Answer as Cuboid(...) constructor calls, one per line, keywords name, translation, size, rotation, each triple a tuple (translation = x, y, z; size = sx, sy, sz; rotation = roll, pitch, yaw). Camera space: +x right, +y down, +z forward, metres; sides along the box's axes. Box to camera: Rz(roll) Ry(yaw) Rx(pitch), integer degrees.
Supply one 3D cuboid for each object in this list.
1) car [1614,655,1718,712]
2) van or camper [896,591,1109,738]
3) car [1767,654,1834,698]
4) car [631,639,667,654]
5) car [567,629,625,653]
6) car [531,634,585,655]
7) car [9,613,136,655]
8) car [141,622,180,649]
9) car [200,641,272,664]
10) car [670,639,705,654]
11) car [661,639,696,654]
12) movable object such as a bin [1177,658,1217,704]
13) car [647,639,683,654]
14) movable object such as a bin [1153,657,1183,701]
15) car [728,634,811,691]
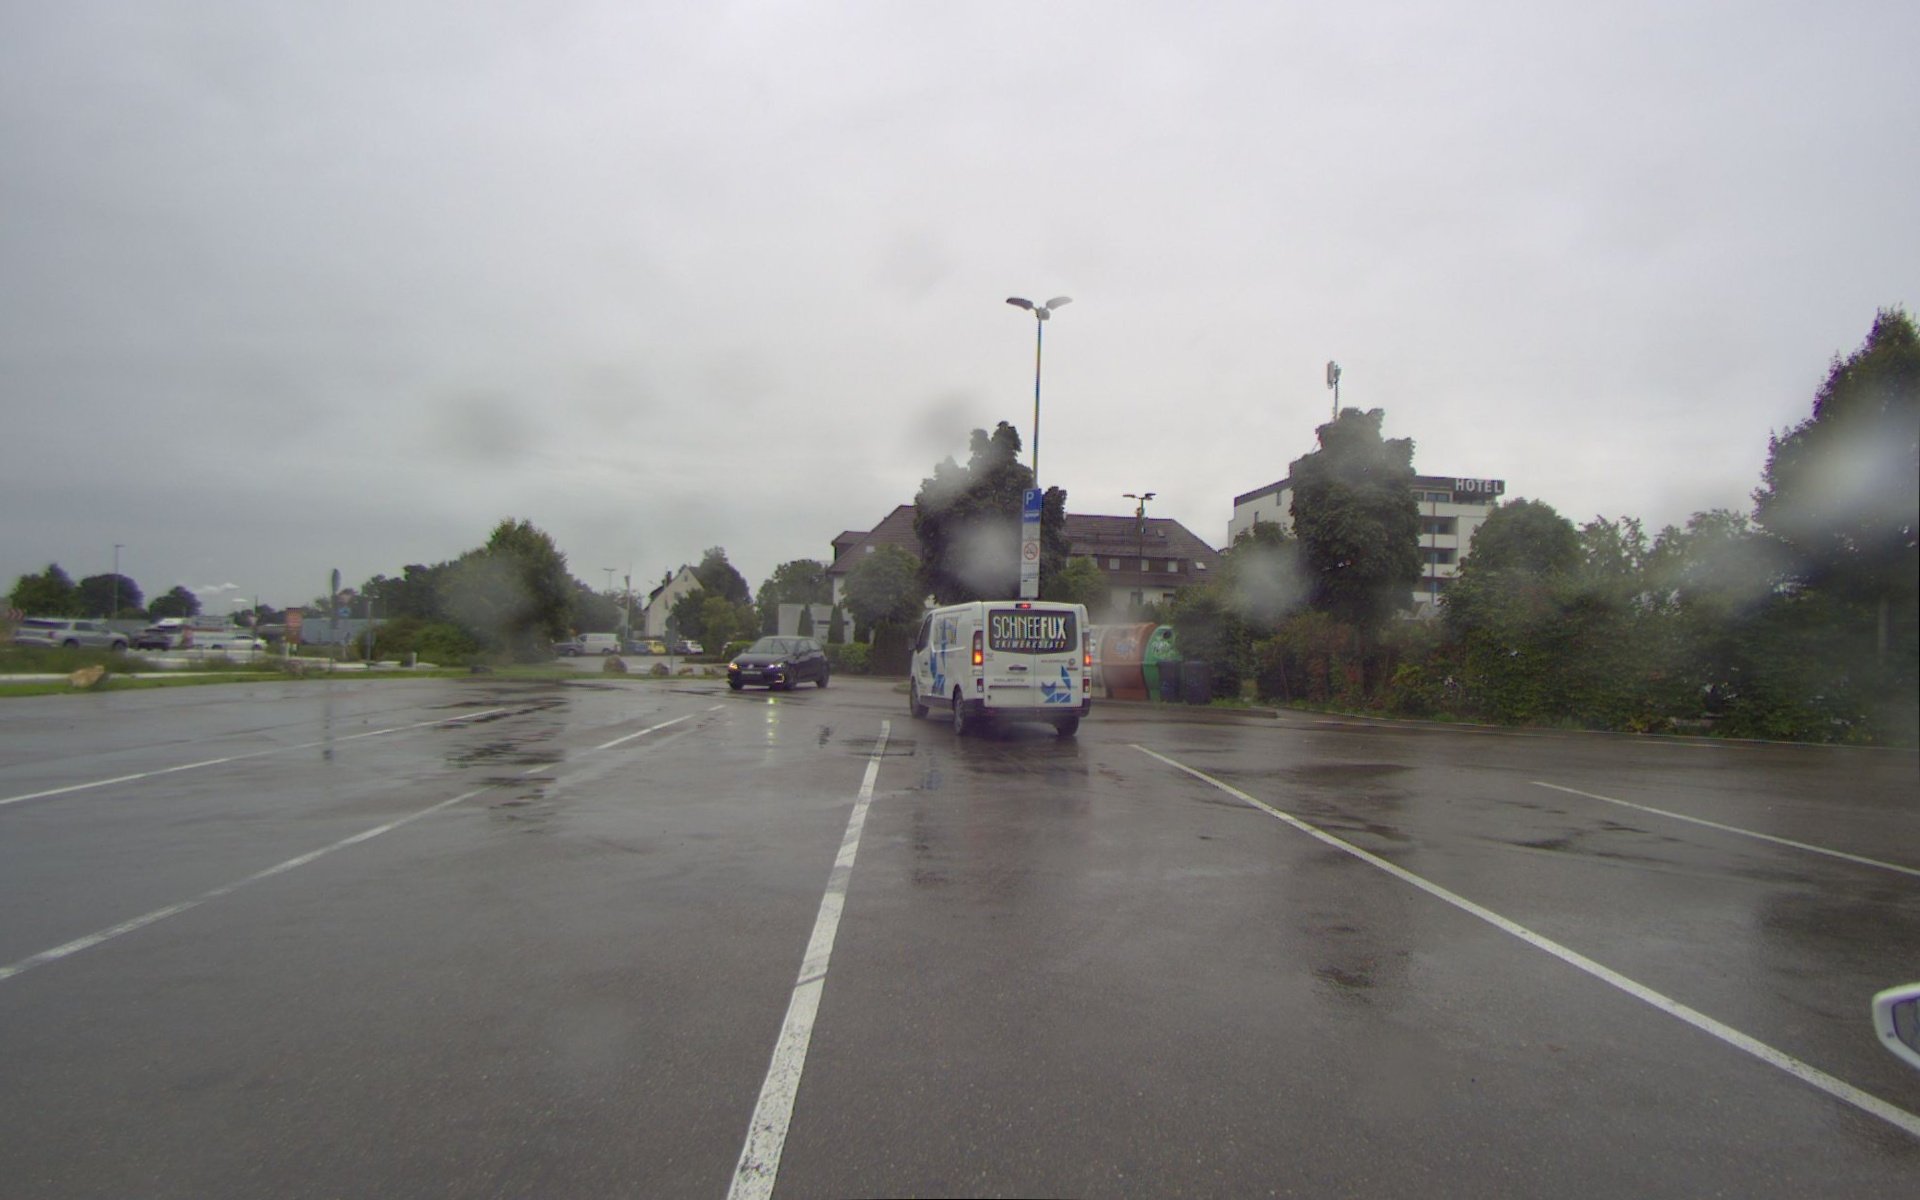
Cuboid(name="car", translation=(20.603, 2.380, 29.241), size=(1.859, 1.491, 4.742), rotation=(-2, -4, 43))
Cuboid(name="van or camper", translation=(0.463, 0.986, 16.481), size=(2.157, 1.970, 5.185), rotation=(2, -2, -13))
Cuboid(name="car", translation=(34.489, 3.087, 41.178), size=(1.775, 1.715, 4.024), rotation=(-2, -4, 44))
Cuboid(name="car", translation=(-30.446, 4.552, 98.310), size=(3.622, 1.477, 1.550), rotation=(-1, -3, 37))
Cuboid(name="car", translation=(-31.884, 3.582, 88.103), size=(4.451, 2.060, 1.643), rotation=(1, -2, -7))
Cuboid(name="car", translation=(-31.338, 3.502, 78.364), size=(3.675, 1.571, 1.449), rotation=(1, -2, -8))
Cuboid(name="car", translation=(-42.956, 1.676, 48.776), size=(1.960, 1.897, 4.646), rotation=(1, -2, 1))
Cuboid(name="car", translation=(-55.125, 2.467, 69.318), size=(1.697, 1.839, 3.682), rotation=(2, -3, -33))
Cuboid(name="car", translation=(-58.032, 4.191, 80.622), size=(1.715, 1.781, 4.365), rotation=(-1, -3, 23))
Cuboid(name="car", translation=(-27.893, 4.759, 102.870), size=(3.622, 1.477, 1.580), rotation=(-1, -3, 37))
Cuboid(name="car", translation=(-28.279, 4.673, 100.858), size=(3.622, 1.477, 1.580), rotation=(-1, -3, 37))
Cuboid(name="movable object such as a bin", translation=(4.893, 1.668, 20.755), size=(0.620, 0.932, 0.555), rotation=(1, -2, -16))
Cuboid(name="car", translation=(-29.270, 4.615, 99.529), size=(3.622, 1.477, 1.580), rotation=(-1, -3, 37))
Cuboid(name="movable object such as a bin", translation=(4.446, 1.684, 21.483), size=(0.487, 0.932, 0.415), rotation=(1, -2, -16))
Cuboid(name="car", translation=(-5.261, 1.709, 28.209), size=(1.745, 1.452, 4.078), rotation=(1, -2, -3))
